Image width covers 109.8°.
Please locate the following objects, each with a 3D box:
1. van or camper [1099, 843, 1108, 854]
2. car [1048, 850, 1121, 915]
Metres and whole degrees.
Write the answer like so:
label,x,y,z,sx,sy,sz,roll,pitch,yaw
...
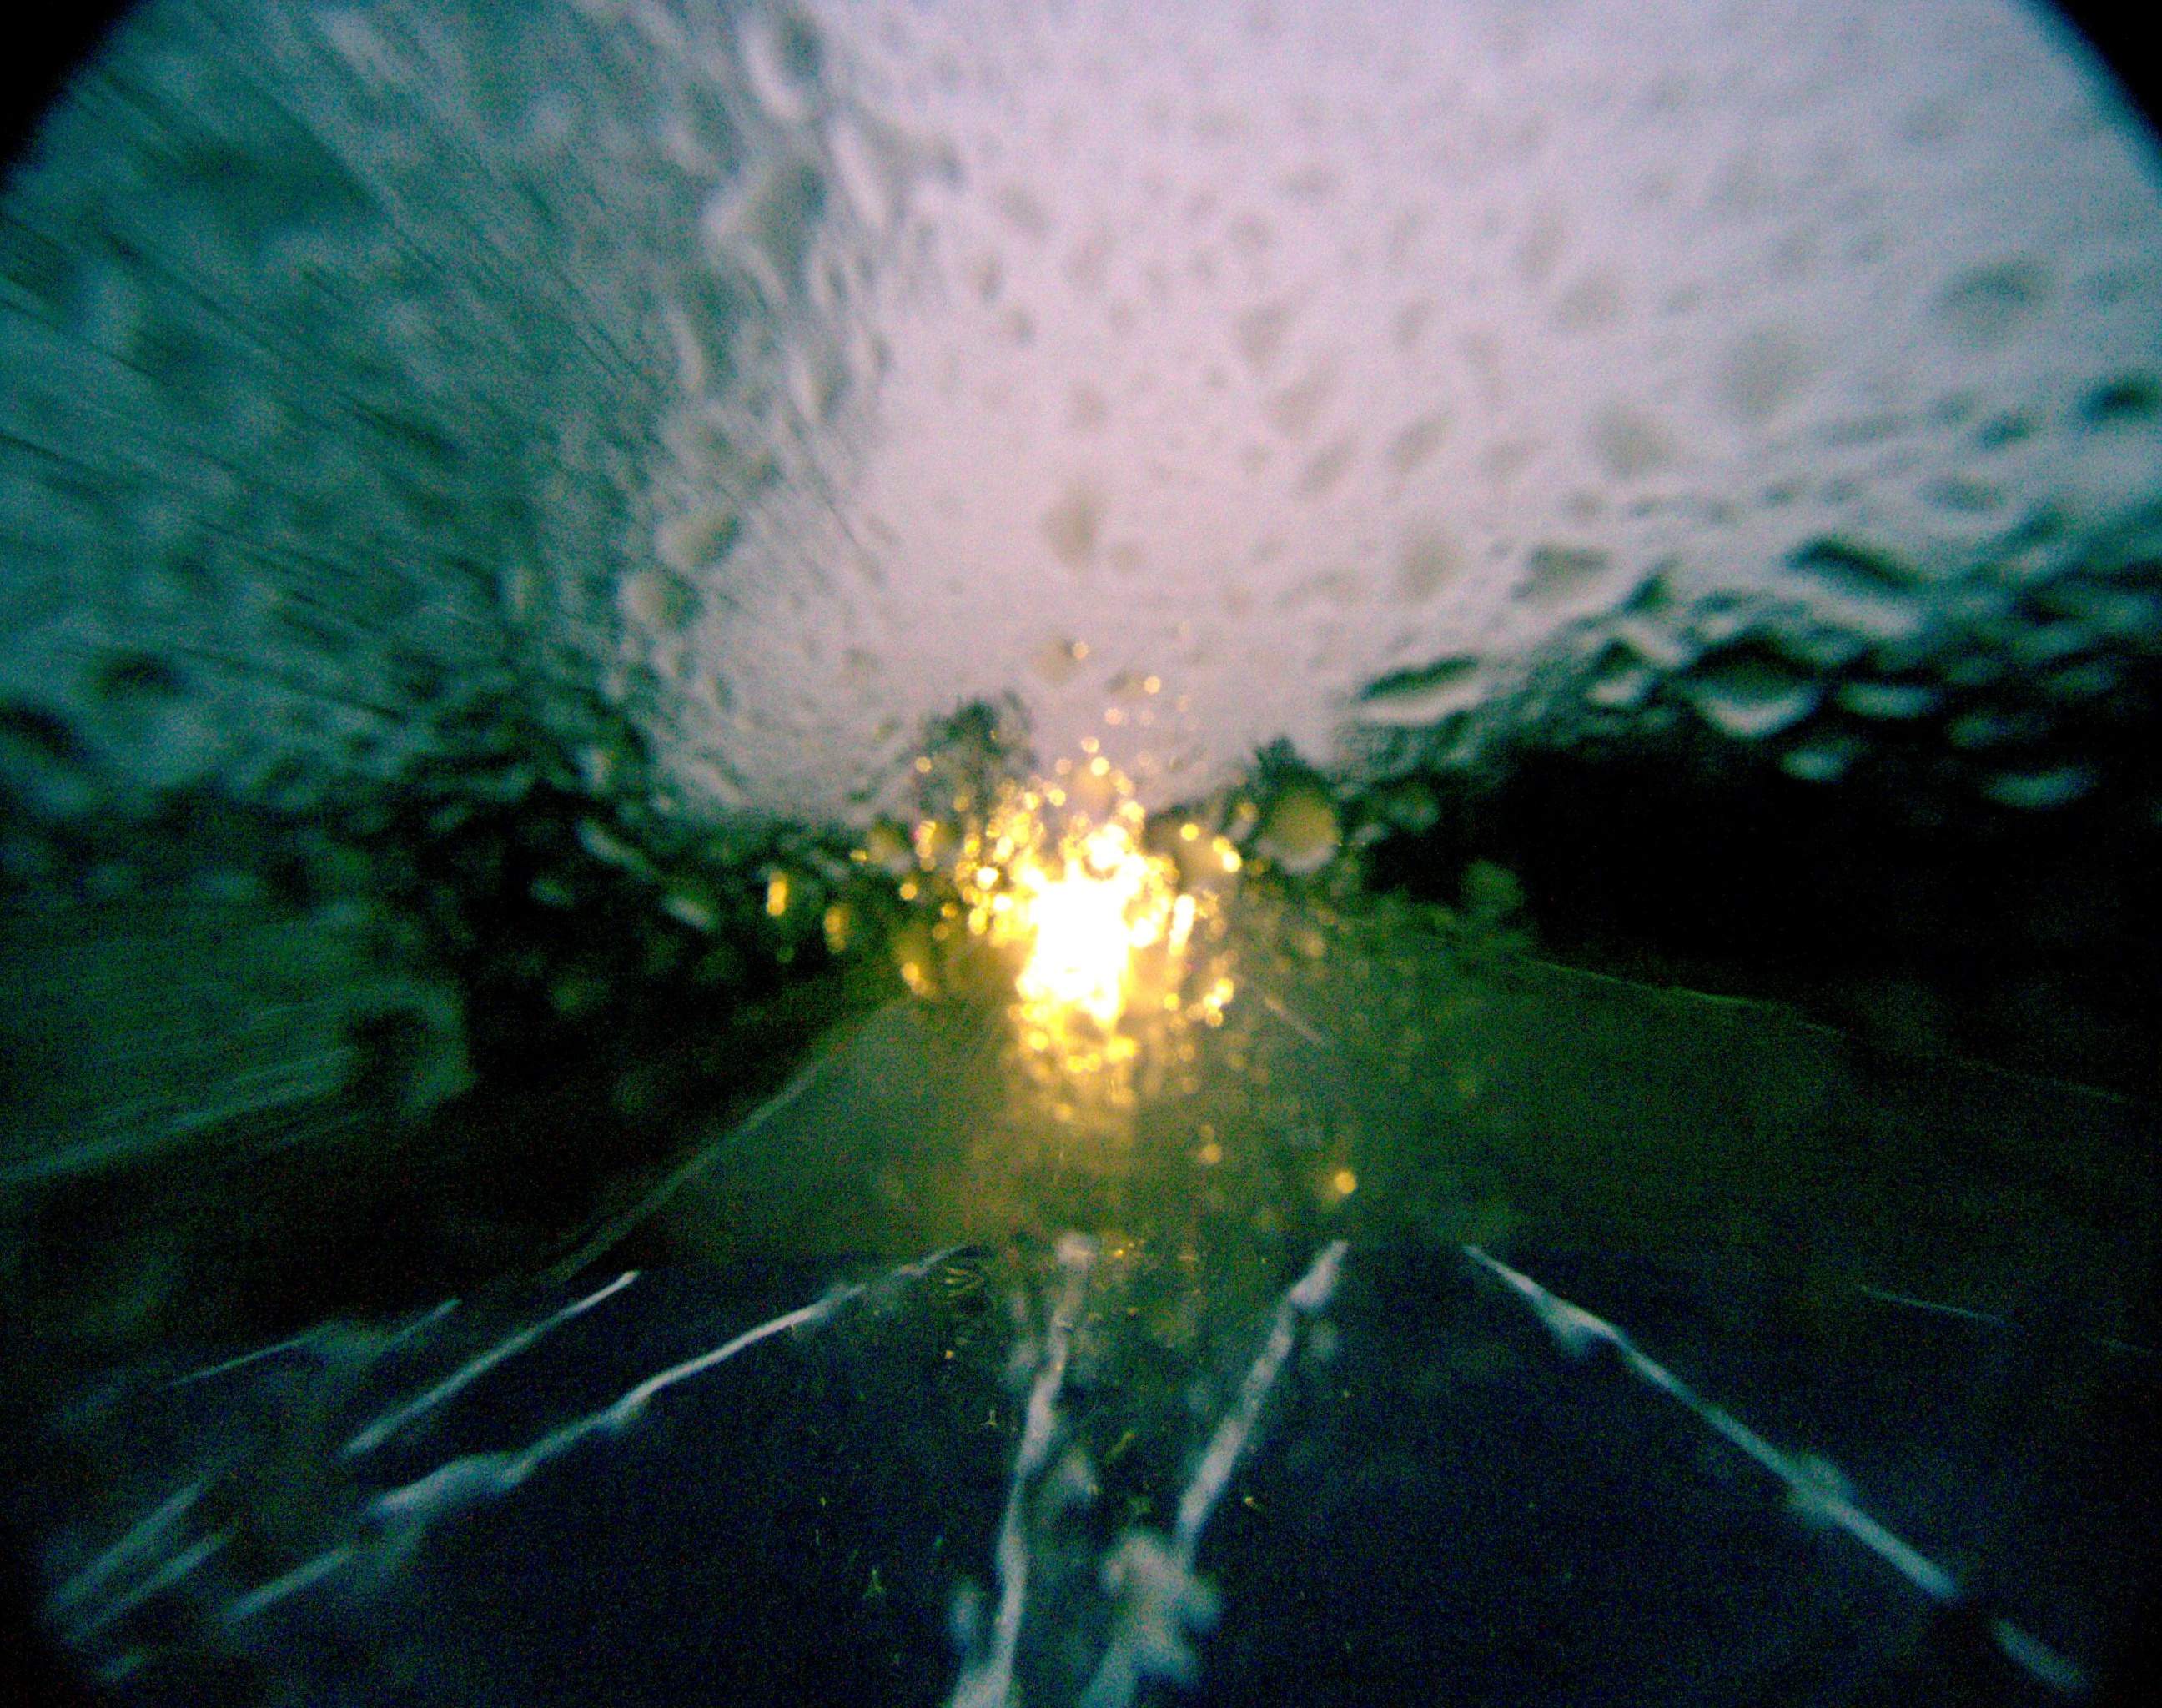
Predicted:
label,x,y,z,sx,sy,sz,roll,pitch,yaw
van or camper,5.367,-1.319,185.355,2.026,2.760,6.743,-2,1,1
car,0.209,0.783,22.713,1.910,1.653,4.000,-3,1,3
